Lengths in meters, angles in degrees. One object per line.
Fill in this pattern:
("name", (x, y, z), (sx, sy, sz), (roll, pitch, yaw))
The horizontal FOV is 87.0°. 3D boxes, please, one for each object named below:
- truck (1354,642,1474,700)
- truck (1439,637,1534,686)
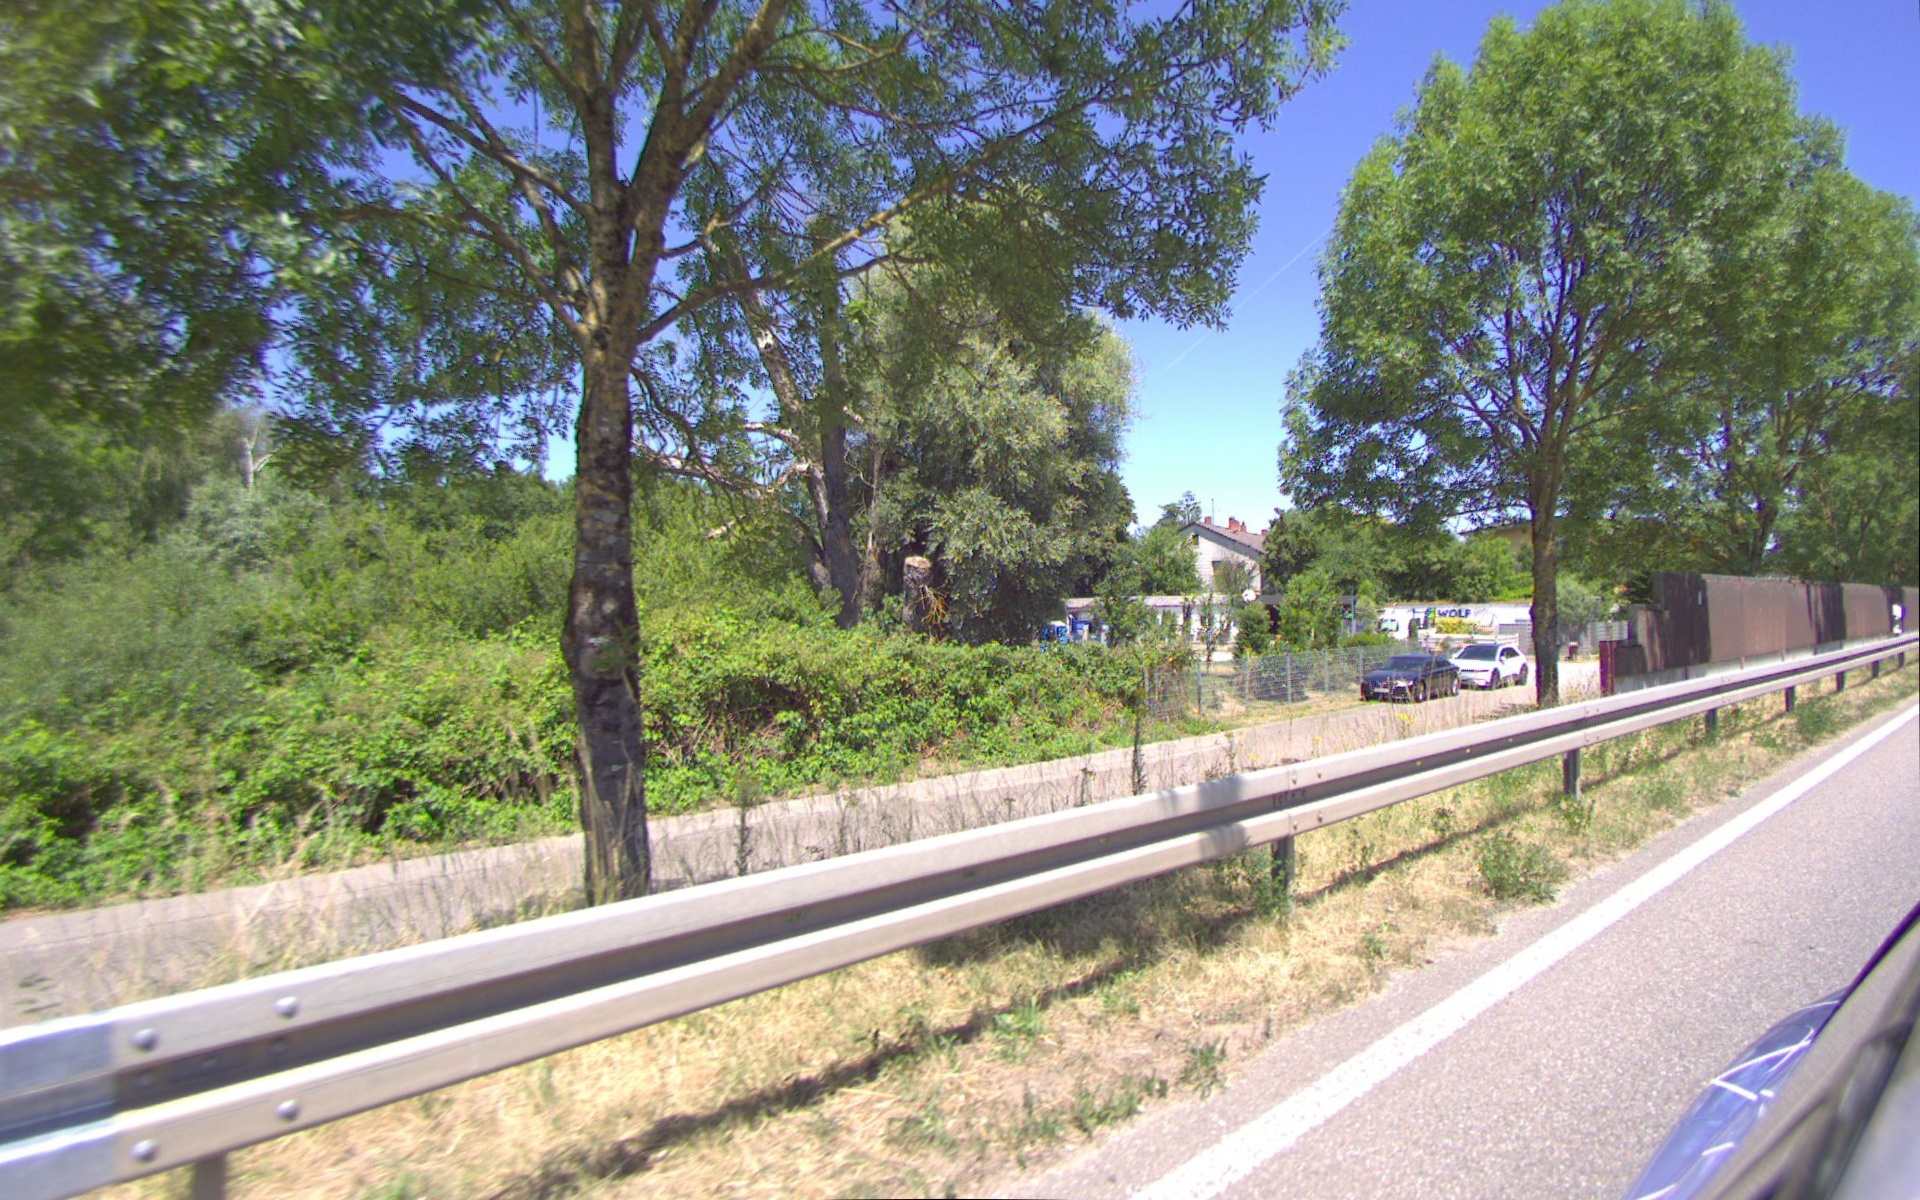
("truck", (15.524, 2.345, 34.492), (4.817, 1.591, 1.886), (0, 1, -41))
("truck", (20.040, 2.284, 38.479), (3.930, 1.563, 1.894), (0, 1, -41))
